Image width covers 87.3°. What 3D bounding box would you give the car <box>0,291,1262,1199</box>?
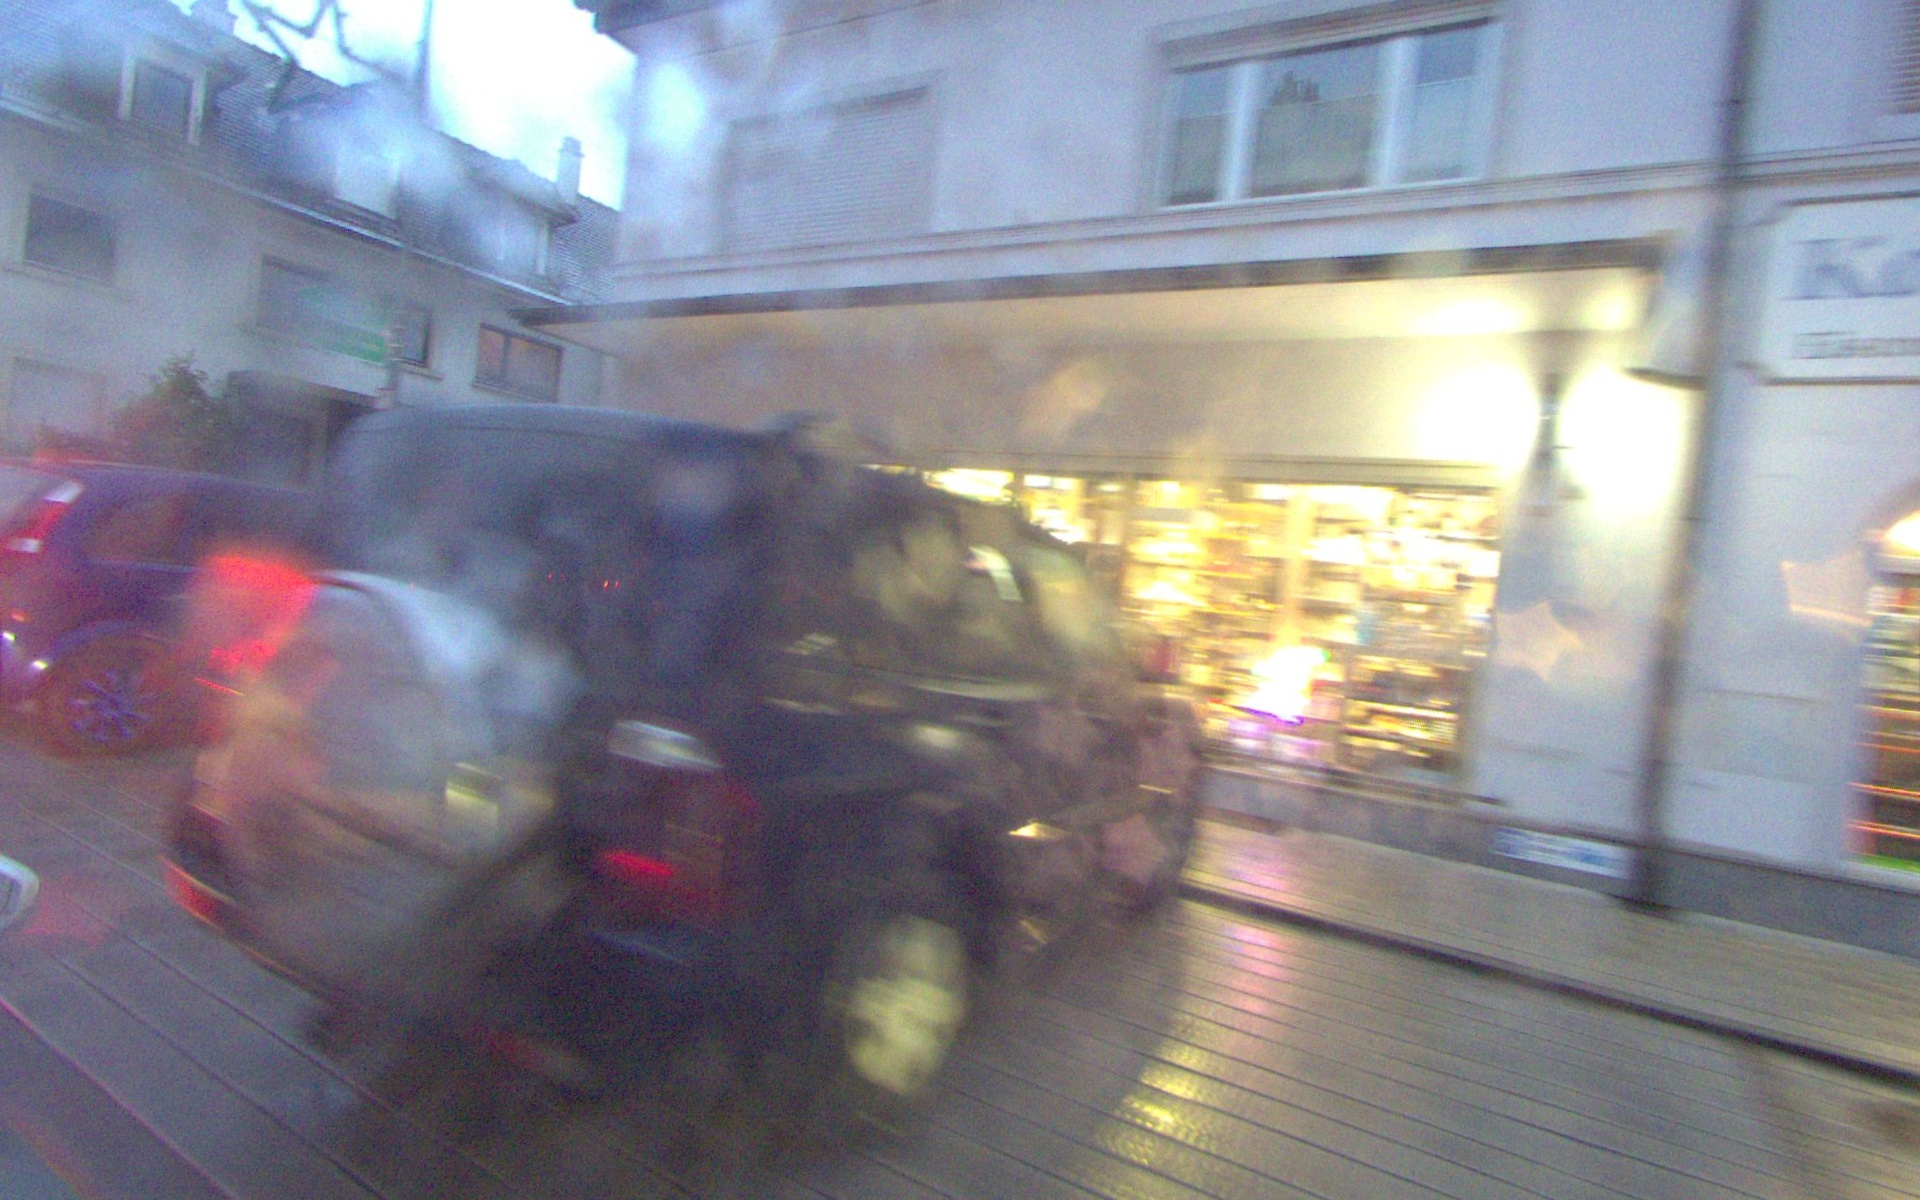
[{"bbox_3d":[-0.338,0.458,3.933,1.911,1.798,4.612,8,1,27],"label":"car"}]

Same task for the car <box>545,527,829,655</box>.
[{"bbox_3d":[-4.162,-0.059,15.961,1.967,1.590,3.991,7,1,31],"label":"car"}]

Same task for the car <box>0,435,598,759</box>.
[{"bbox_3d":[-4.661,-0.007,6.950,1.652,1.599,3.877,7,1,26],"label":"car"}]
